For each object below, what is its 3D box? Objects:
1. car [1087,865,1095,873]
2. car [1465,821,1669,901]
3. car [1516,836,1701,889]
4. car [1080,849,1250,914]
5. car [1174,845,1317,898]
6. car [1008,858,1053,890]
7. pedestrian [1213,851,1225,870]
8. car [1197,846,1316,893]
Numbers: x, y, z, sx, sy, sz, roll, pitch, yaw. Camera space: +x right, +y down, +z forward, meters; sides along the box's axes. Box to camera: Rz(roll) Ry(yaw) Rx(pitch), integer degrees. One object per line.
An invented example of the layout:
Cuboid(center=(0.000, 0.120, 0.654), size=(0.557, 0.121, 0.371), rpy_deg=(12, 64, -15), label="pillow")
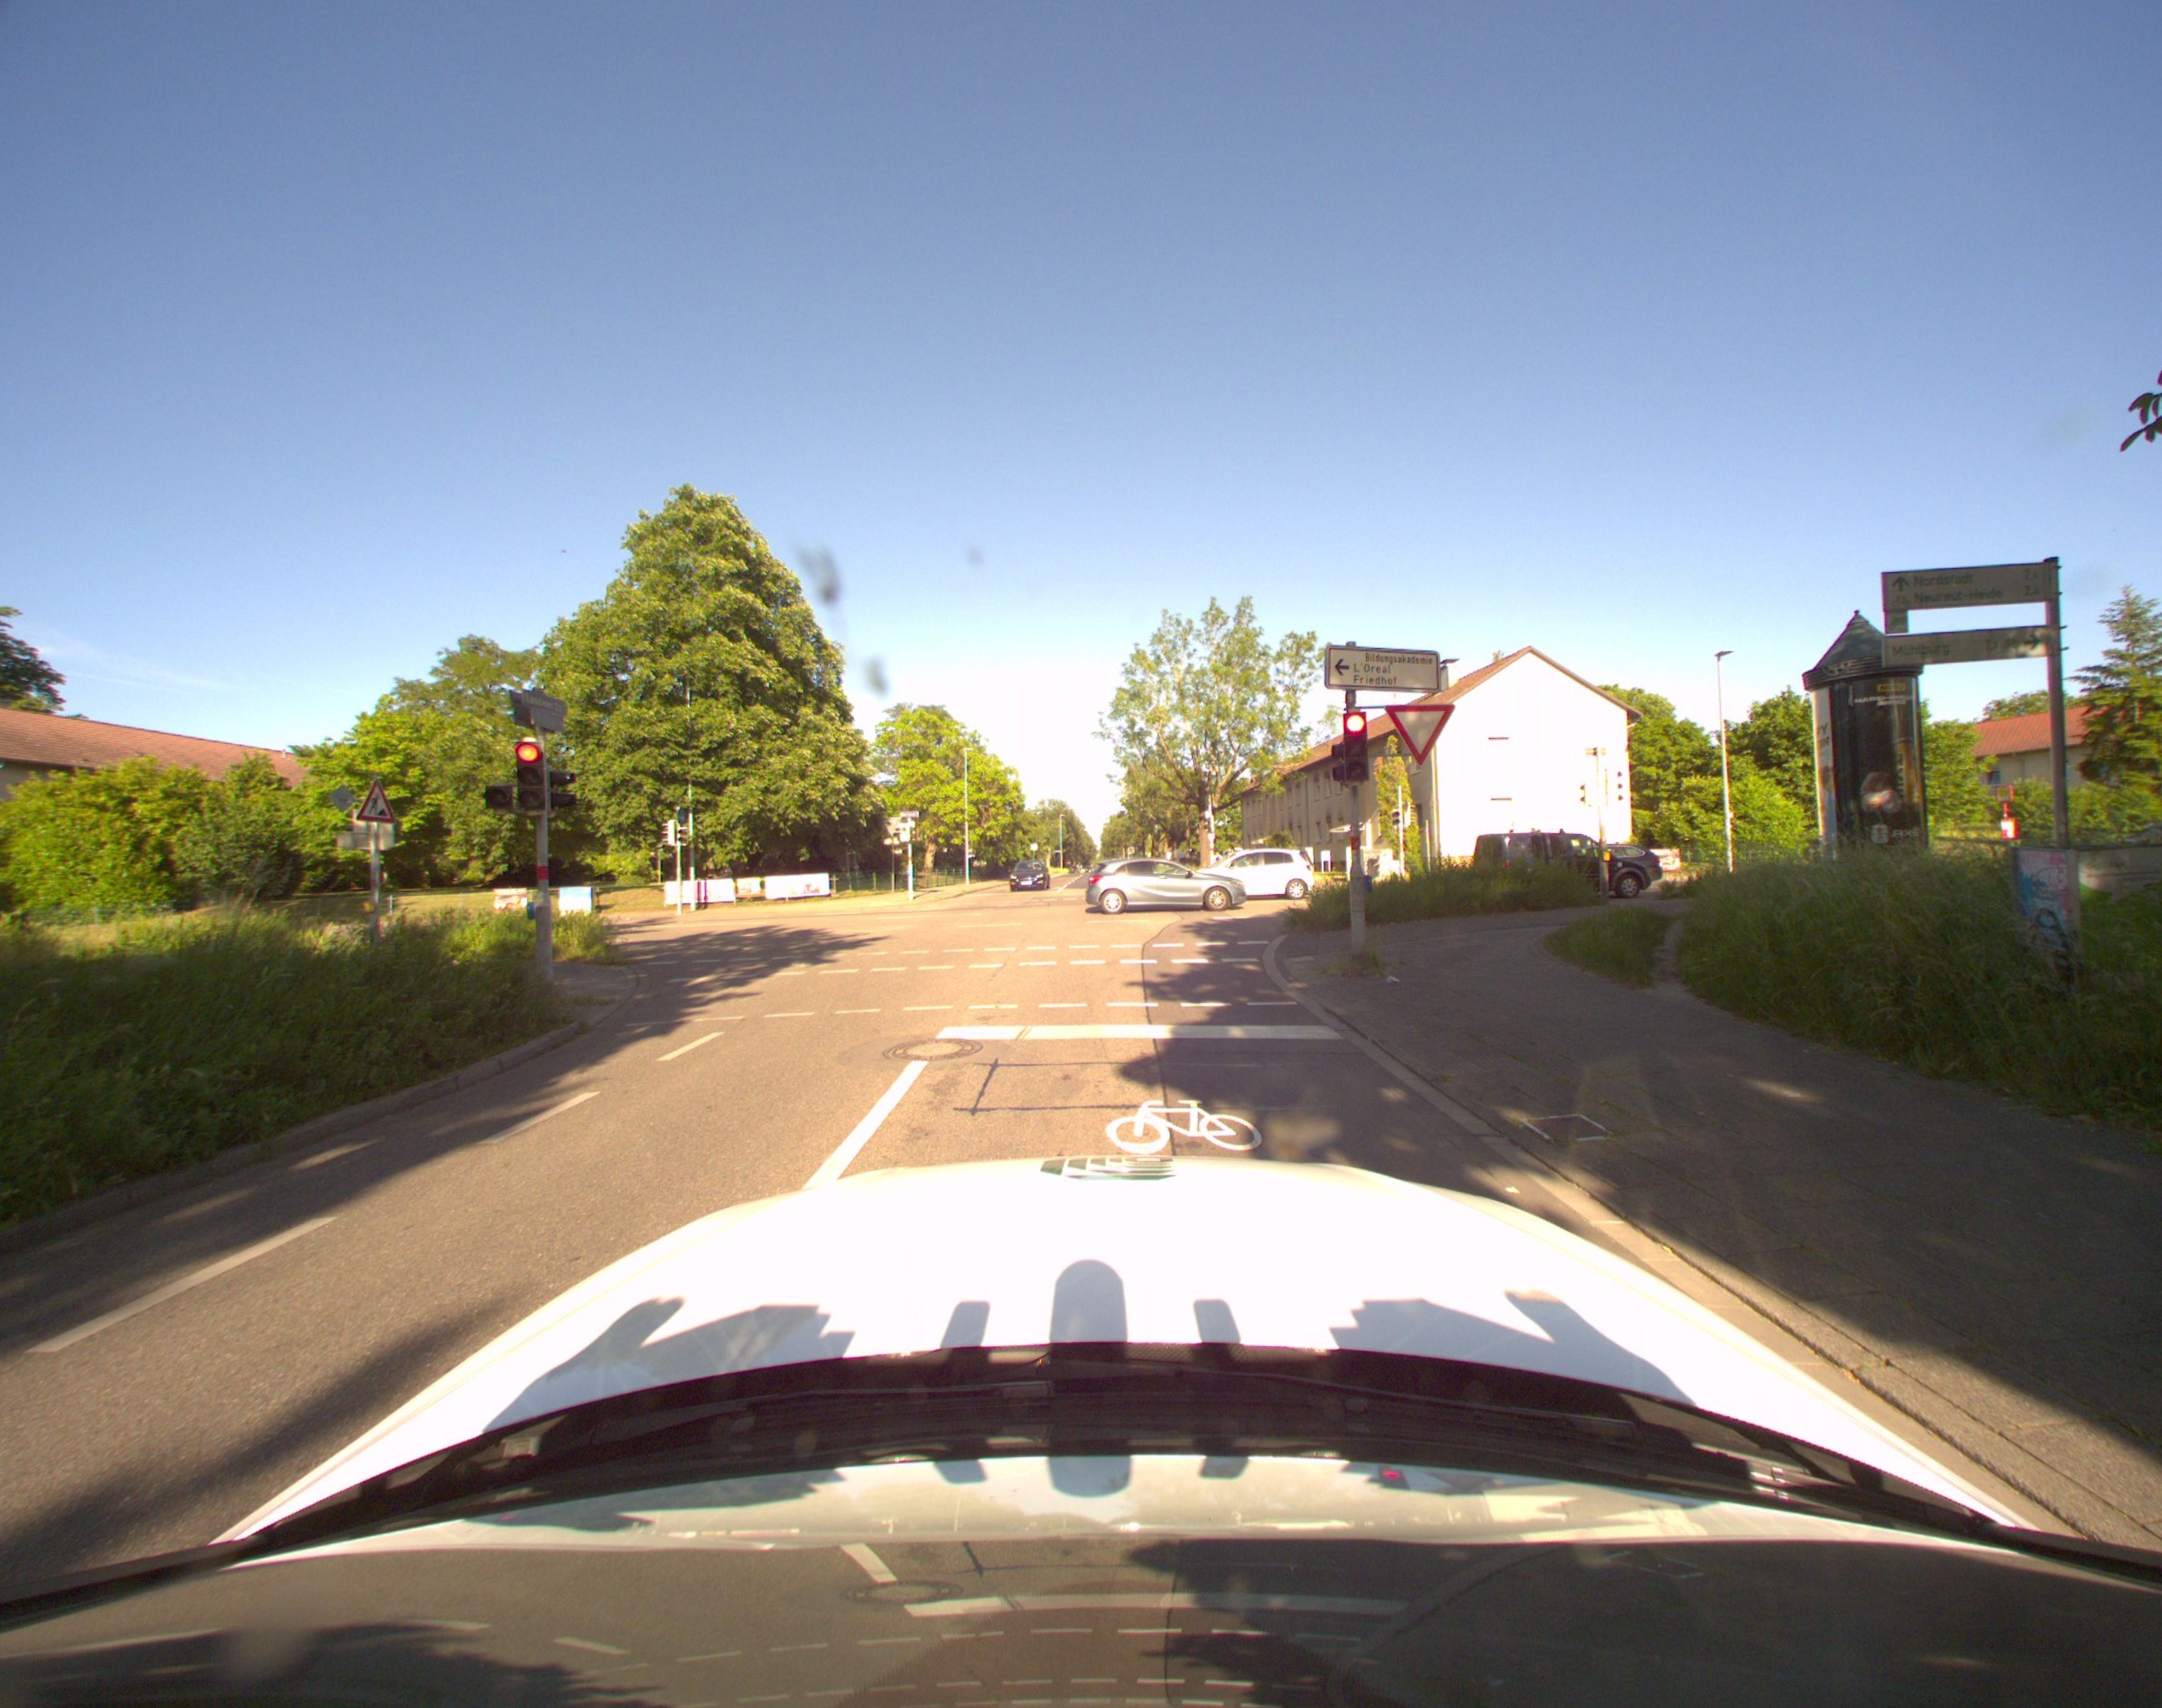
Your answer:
Cuboid(center=(2.255, 3.443, 190.075), size=(1.751, 1.624, 3.271), rpy_deg=(-2, 0, 3), label="car")
Cuboid(center=(12.839, 0.169, 21.698), size=(4.334, 1.887, 1.858), rpy_deg=(-2, 0, -3), label="car")
Cuboid(center=(16.313, 0.248, 25.295), size=(4.726, 1.430, 1.994), rpy_deg=(-2, 0, -9), label="car")
Cuboid(center=(2.142, 0.699, 21.650), size=(4.270, 1.489, 1.913), rpy_deg=(-2, 0, -1), label="car")
Cuboid(center=(5.060, 0.535, 25.389), size=(4.096, 1.563, 1.756), rpy_deg=(0, -1, -2), label="car")
Cuboid(center=(-2.374, 0.918, 38.821), size=(1.704, 1.385, 3.473), rpy_deg=(-2, 0, 3), label="car")
Cuboid(center=(10.539, 0.494, 62.206), size=(0.839, 1.493, 0.924), rpy_deg=(1, 0, 1), label="pedestrian")
Cuboid(center=(6.177, 0.546, 28.763), size=(3.960, 1.582, 1.763), rpy_deg=(-1, -1, 12), label="car")
